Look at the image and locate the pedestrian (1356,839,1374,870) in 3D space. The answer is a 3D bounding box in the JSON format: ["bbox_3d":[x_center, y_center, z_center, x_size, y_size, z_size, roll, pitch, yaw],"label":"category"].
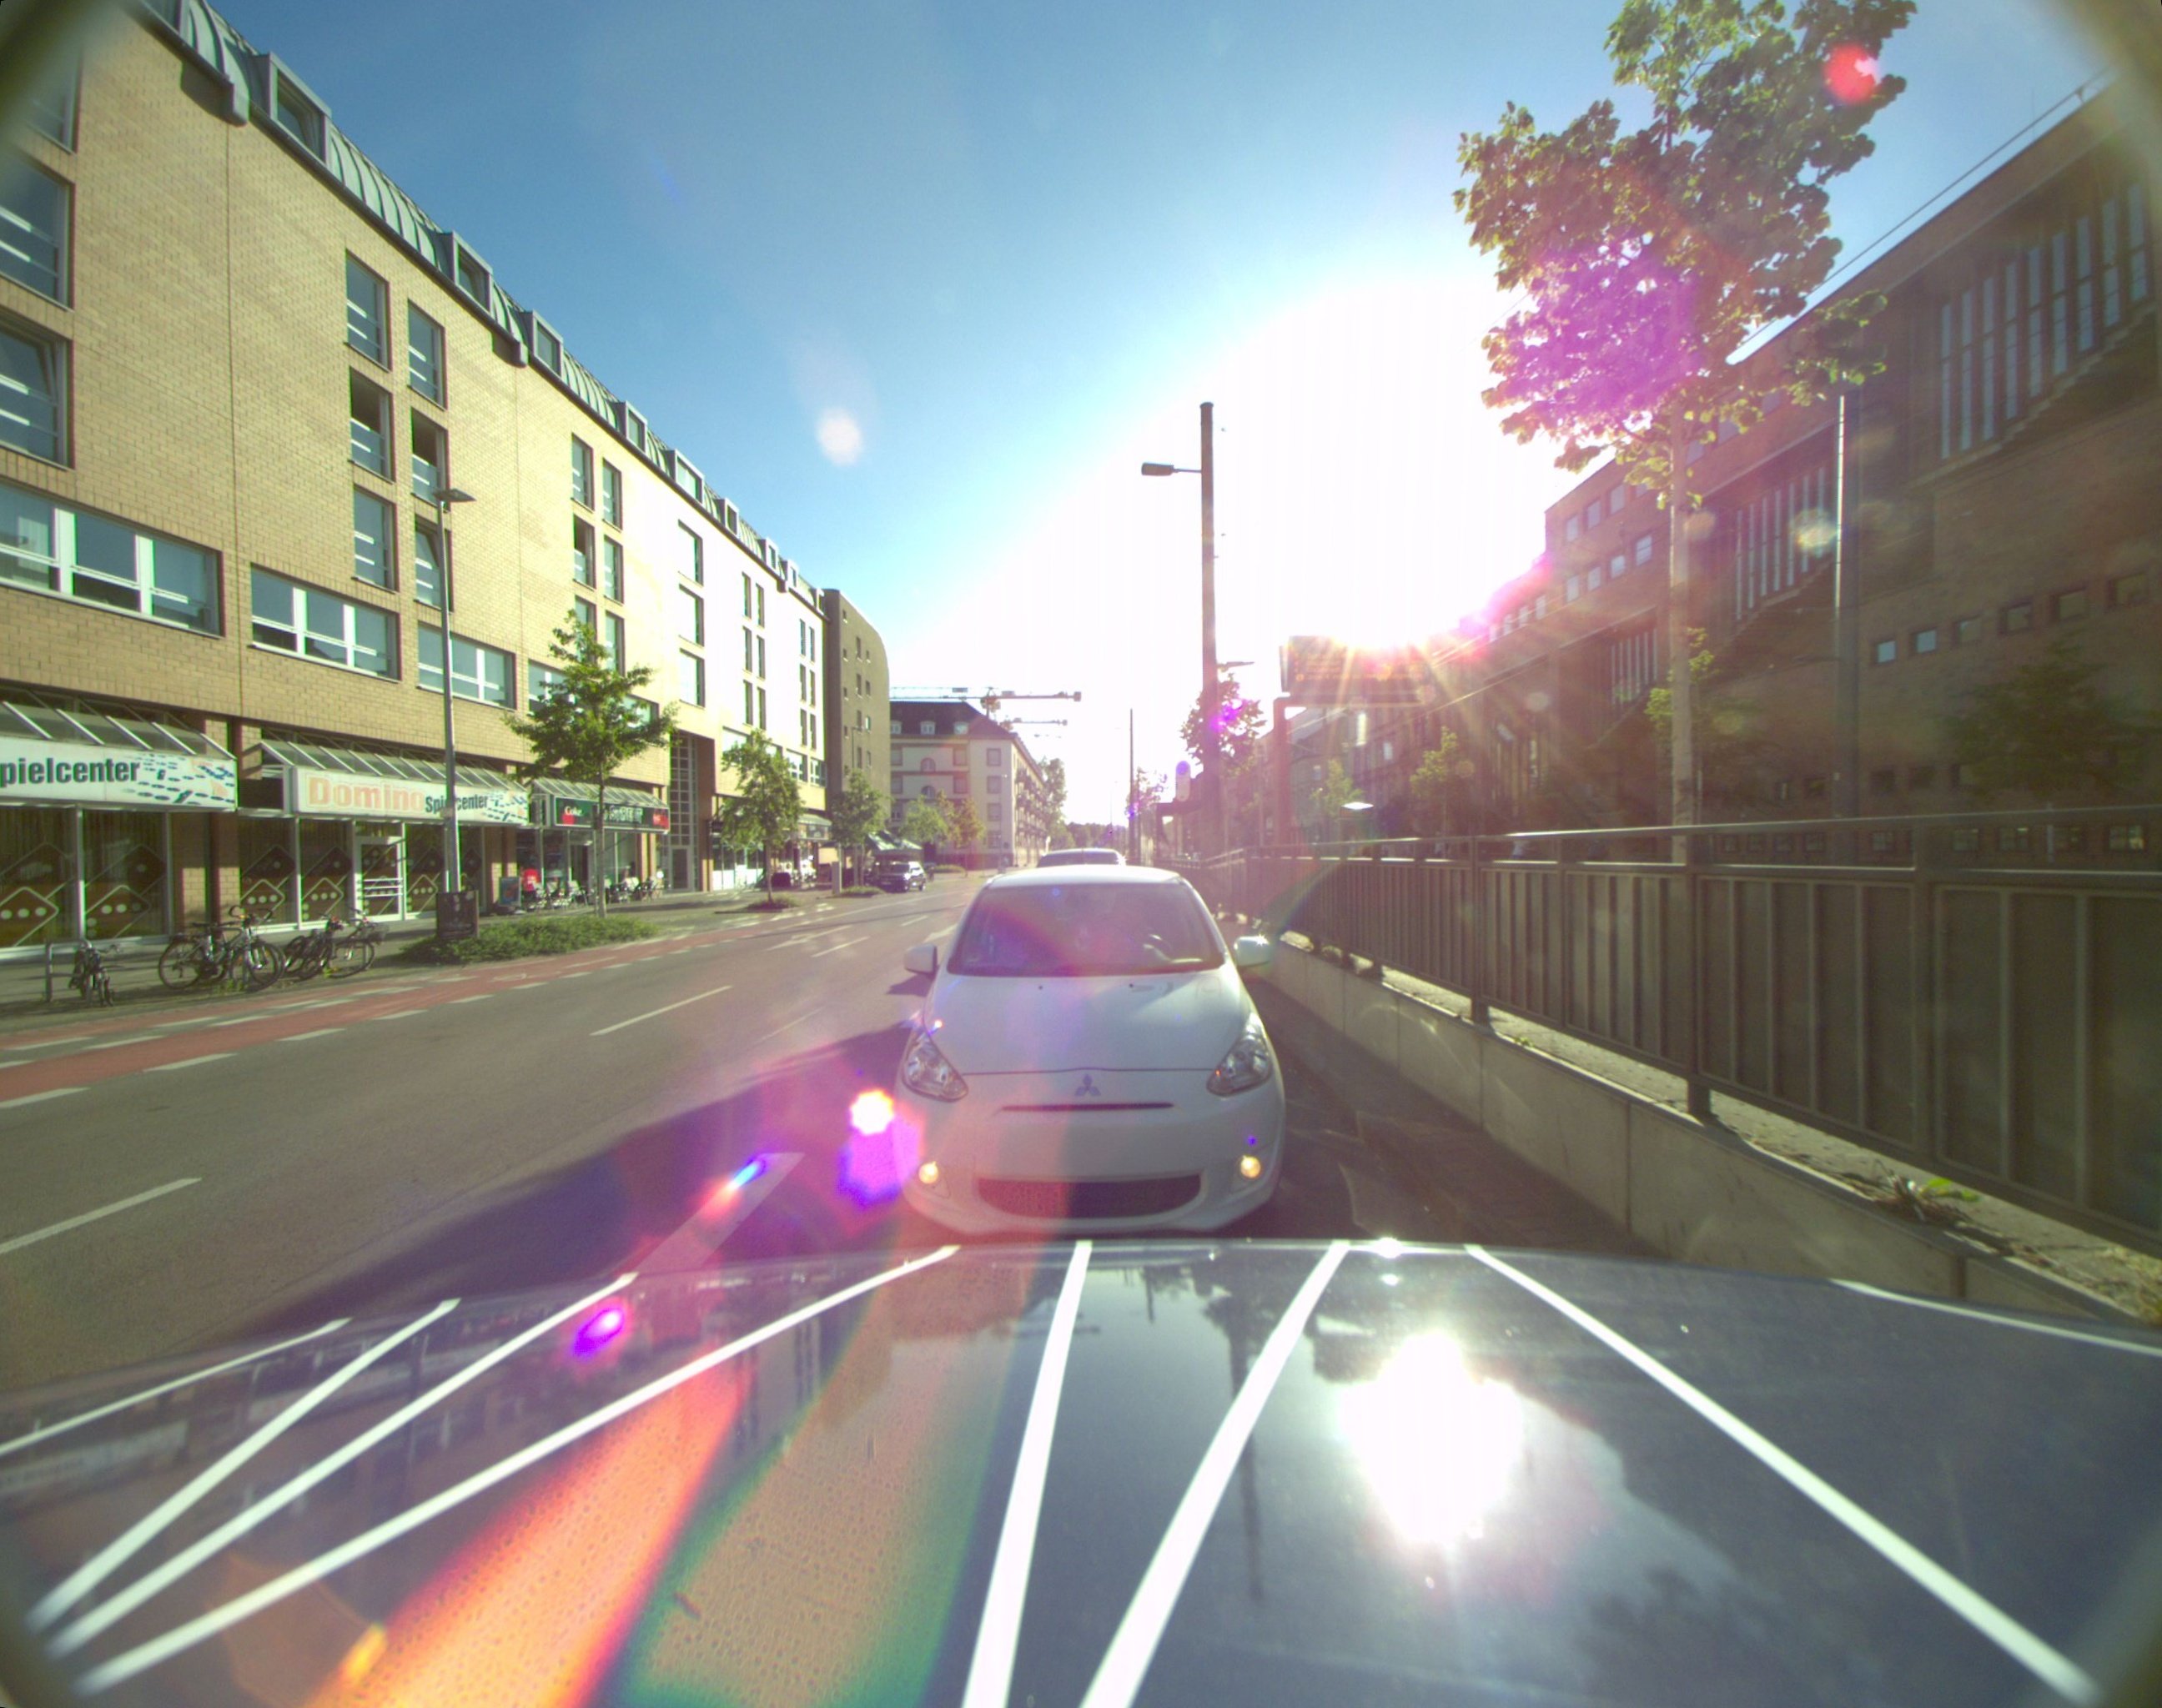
[{"bbox_3d":[14.462,0.013,38.668,0.692,1.566,0.586,-1,1,-2],"label":"pedestrian"}]

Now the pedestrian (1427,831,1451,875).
[{"bbox_3d":[14.448,-0.047,30.688,0.692,1.732,0.586,-1,1,-2],"label":"pedestrian"}]

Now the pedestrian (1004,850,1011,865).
[{"bbox_3d":[-8.365,0.430,86.723,0.804,1.656,0.891,-1,1,-6],"label":"pedestrian"}]

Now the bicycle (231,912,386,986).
[{"bbox_3d":[-12.395,1.508,12.226,1.774,1.065,0.737,0,2,3],"label":"bicycle"}]

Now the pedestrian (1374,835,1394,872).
[{"bbox_3d":[14.402,-0.037,36.094,0.692,1.732,0.586,-1,1,-2],"label":"pedestrian"}]

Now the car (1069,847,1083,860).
[{"bbox_3d":[-0.637,-0.029,96.447,1.829,1.644,3.682,-1,0,0],"label":"car"}]

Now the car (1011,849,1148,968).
[{"bbox_3d":[0.006,0.790,13.383,1.955,1.652,4.355,-2,1,1],"label":"car"}]

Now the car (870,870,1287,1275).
[{"bbox_3d":[0.019,0.942,5.183,1.640,1.458,4.186,-2,1,1],"label":"car"}]

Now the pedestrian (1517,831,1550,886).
[{"bbox_3d":[14.498,0.147,24.363,0.692,1.732,0.586,-1,1,-2],"label":"pedestrian"}]

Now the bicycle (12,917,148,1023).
[{"bbox_3d":[-12.825,1.446,9.732,1.771,1.142,0.554,1,2,21],"label":"bicycle"}]

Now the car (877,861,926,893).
[{"bbox_3d":[-9.800,1.243,41.667,1.655,1.521,3.693,-2,1,1],"label":"car"}]

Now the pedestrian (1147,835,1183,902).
[{"bbox_3d":[2.565,0.424,23.161,0.782,2.002,0.882,-1,1,28],"label":"pedestrian"}]

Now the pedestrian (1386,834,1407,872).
[{"bbox_3d":[14.475,-0.040,34.851,0.692,1.732,0.586,-1,1,-2],"label":"pedestrian"}]

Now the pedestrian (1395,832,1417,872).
[{"bbox_3d":[14.295,-0.072,33.389,0.692,1.732,0.586,-1,1,-2],"label":"pedestrian"}]

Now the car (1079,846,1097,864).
[{"bbox_3d":[0.794,0.078,86.972,1.998,1.958,4.000,-1,0,1],"label":"car"}]

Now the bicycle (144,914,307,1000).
[{"bbox_3d":[-12.357,1.479,10.995,1.774,1.135,0.553,0,2,3],"label":"bicycle"}]

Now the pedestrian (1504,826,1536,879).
[{"bbox_3d":[14.484,-0.041,25.059,0.692,1.732,0.586,-1,1,-2],"label":"pedestrian"}]

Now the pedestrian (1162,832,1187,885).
[{"bbox_3d":[3.607,0.171,29.390,0.784,2.002,0.880,-1,1,-6],"label":"pedestrian"}]

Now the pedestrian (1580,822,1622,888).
[{"bbox_3d":[13.963,0.032,20.411,0.692,1.732,0.586,-1,1,-2],"label":"pedestrian"}]
